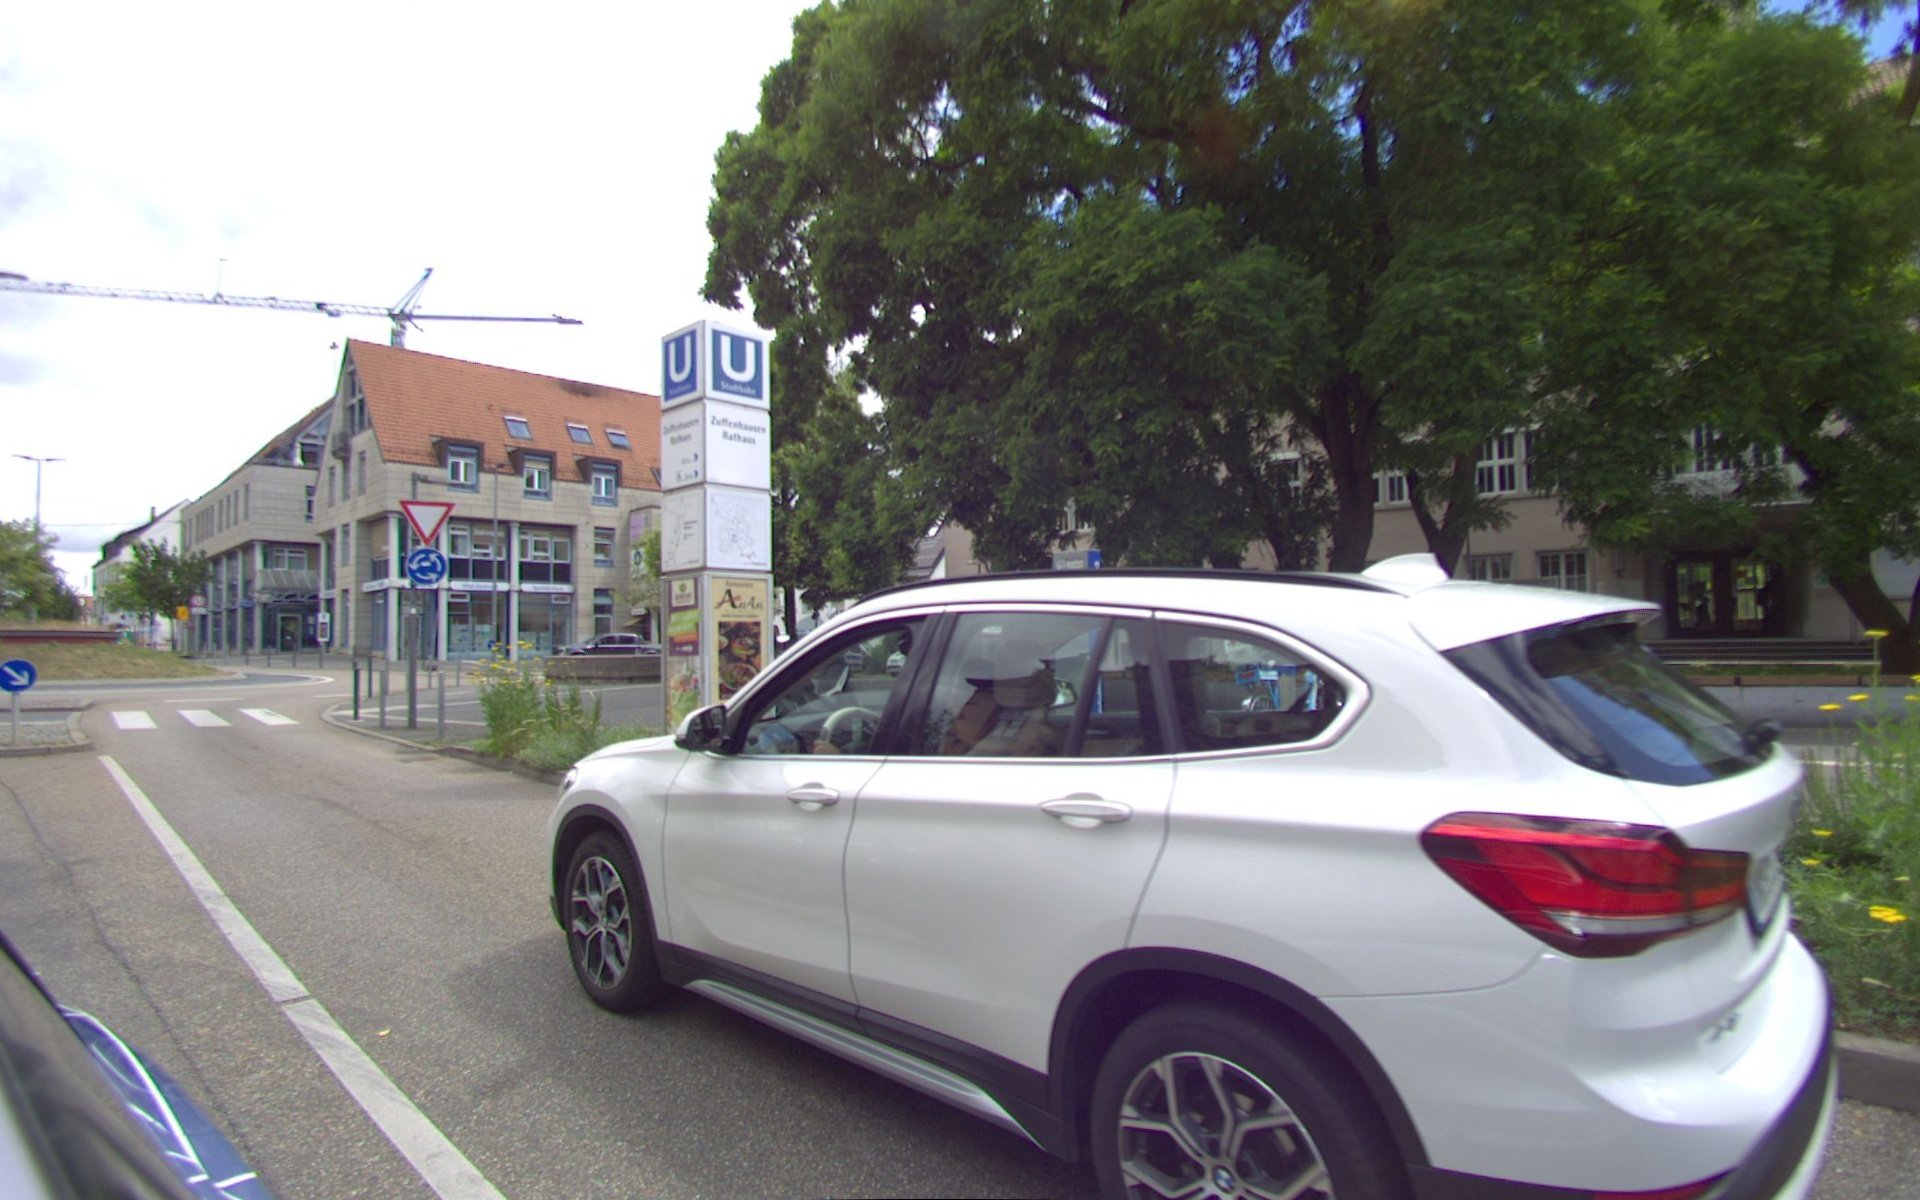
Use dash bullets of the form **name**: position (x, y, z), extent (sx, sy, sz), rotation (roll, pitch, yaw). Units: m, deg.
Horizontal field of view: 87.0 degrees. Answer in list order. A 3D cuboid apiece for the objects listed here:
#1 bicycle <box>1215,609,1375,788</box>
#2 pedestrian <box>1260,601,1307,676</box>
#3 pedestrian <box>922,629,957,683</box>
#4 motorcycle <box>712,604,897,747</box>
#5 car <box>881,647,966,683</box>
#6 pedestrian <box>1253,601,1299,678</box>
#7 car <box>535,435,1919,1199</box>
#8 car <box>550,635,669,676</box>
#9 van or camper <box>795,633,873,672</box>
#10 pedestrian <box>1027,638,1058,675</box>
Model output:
- **bicycle**: position (2.347, 0.639, 6.981), extent (0.514, 1.090, 1.671), rotation (-4, -4, 36)
- **pedestrian**: position (8.224, 0.977, 25.702), extent (0.877, 1.864, 0.653), rotation (-4, -4, 41)
- **pedestrian**: position (-0.653, 1.766, 31.933), extent (0.816, 1.688, 0.682), rotation (-4, -4, 37)
- **motorcycle**: position (-1.694, 0.817, 11.417), extent (0.648, 1.461, 2.167), rotation (-1, -3, 39)
- **car**: position (-1.788, 3.169, 49.954), extent (4.013, 1.551, 1.749), rotation (1, -1, -42)
- **pedestrian**: position (7.830, 0.974, 25.076), extent (0.829, 1.864, 0.653), rotation (-4, -4, 41)
- **car**: position (0.375, 0.655, 3.315), extent (4.167, 1.597, 1.802), rotation (-2, -2, 44)
- **car**: position (-15.763, 2.474, 45.604), extent (4.810, 1.666, 1.751), rotation (1, -1, -34)
- **van or camper**: position (-8.101, 3.353, 65.067), extent (4.634, 2.401, 1.989), rotation (-1, -2, 17)
- **pedestrian**: position (2.702, 1.854, 33.175), extent (0.689, 1.184, 0.807), rotation (-4, -3, 36)
